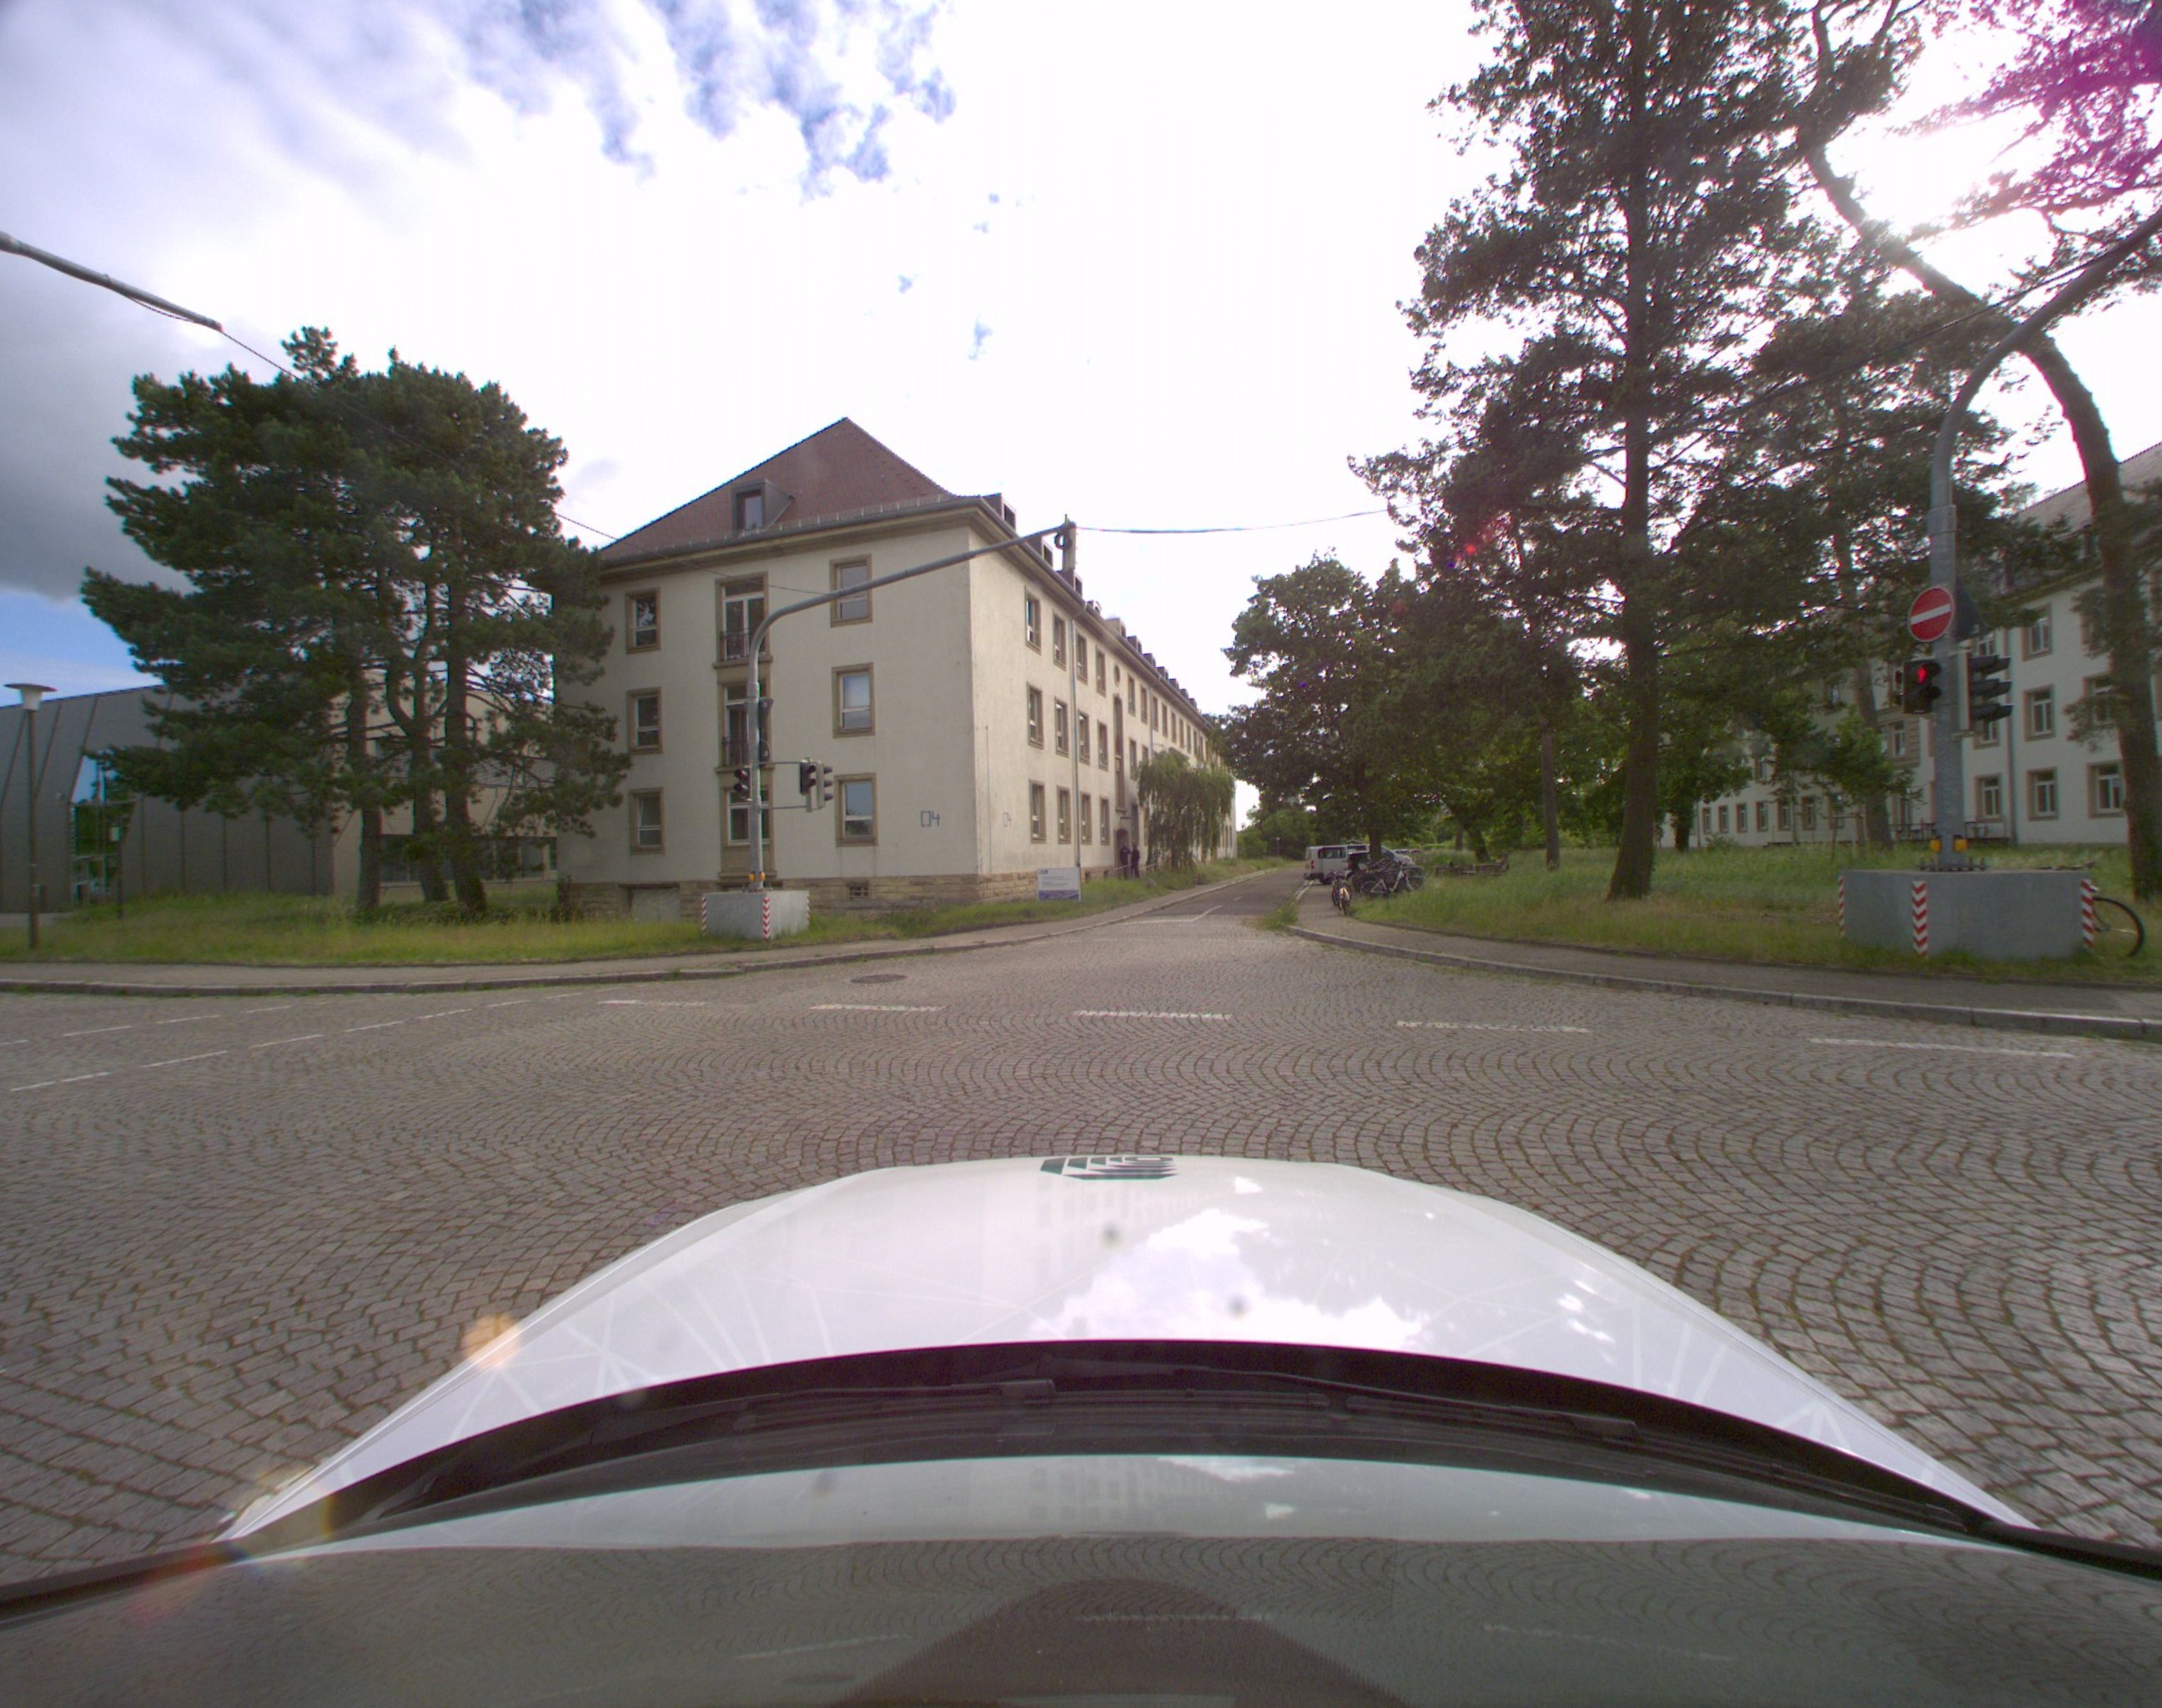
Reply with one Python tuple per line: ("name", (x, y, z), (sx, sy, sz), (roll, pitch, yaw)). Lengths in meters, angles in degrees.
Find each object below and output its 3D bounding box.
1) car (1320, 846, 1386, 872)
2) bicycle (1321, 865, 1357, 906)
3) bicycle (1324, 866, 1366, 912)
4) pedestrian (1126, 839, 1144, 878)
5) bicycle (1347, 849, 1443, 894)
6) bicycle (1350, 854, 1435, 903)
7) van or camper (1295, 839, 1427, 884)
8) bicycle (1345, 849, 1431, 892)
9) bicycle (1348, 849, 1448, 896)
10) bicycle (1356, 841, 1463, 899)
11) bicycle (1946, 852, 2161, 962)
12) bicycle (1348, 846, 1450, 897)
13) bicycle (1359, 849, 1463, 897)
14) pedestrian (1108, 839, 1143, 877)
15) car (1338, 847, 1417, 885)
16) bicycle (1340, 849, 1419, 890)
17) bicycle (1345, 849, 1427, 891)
("car", (17.719, 0.330, 53.259), (3.958, 1.600, 1.710), (-2, 0, 15))
("bicycle", (6.882, 0.830, 21.664), (0.721, 0.996, 1.989), (-2, 0, 22))
("bicycle", (6.330, 0.823, 19.635), (0.893, 0.996, 1.987), (-2, 0, 17))
("pedestrian", (2.734, 0.227, 40.830), (0.861, 1.932, 0.838), (0, 0, 6))
("bicycle", (10.010, 0.567, 26.093), (2.781, 1.372, 0.955), (-2, 0, 16))
("bicycle", (8.576, 0.670, 22.498), (2.096, 1.306, 0.878), (-2, 0, 16))
("van or camper", (13.624, 0.365, 39.923), (5.714, 1.957, 2.241), (-2, 0, 5))
("bicycle", (10.157, 0.542, 27.060), (2.548, 1.372, 0.955), (-2, 0, 16))
("bicycle", (9.772, 0.565, 25.227), (2.781, 1.372, 0.955), (-2, 0, 16))
("bicycle", (9.521, 0.466, 23.765), (2.781, 1.583, 0.955), (-2, -1, 16))
("bicycle", (10.833, 0.535, 9.100), (0.639, 1.062, 1.841), (-6, -1, 14))
("bicycle", (8.934, 0.494, 23.031), (2.599, 1.367, 0.878), (-2, 0, 16))
("bicycle", (9.923, 0.562, 24.619), (2.781, 1.372, 0.955), (-2, 0, 16))
("pedestrian", (2.176, 0.198, 39.910), (1.535, 1.870, 1.202), (0, 0, 11))
("car", (13.247, 0.525, 36.534), (3.200, 1.621, 1.946), (0, 0, 16))
("bicycle", (10.488, 0.547, 28.721), (2.548, 1.372, 0.955), (-2, 0, 16))
("bicycle", (10.395, 0.544, 27.869), (2.548, 1.372, 0.955), (-2, 0, 16))
